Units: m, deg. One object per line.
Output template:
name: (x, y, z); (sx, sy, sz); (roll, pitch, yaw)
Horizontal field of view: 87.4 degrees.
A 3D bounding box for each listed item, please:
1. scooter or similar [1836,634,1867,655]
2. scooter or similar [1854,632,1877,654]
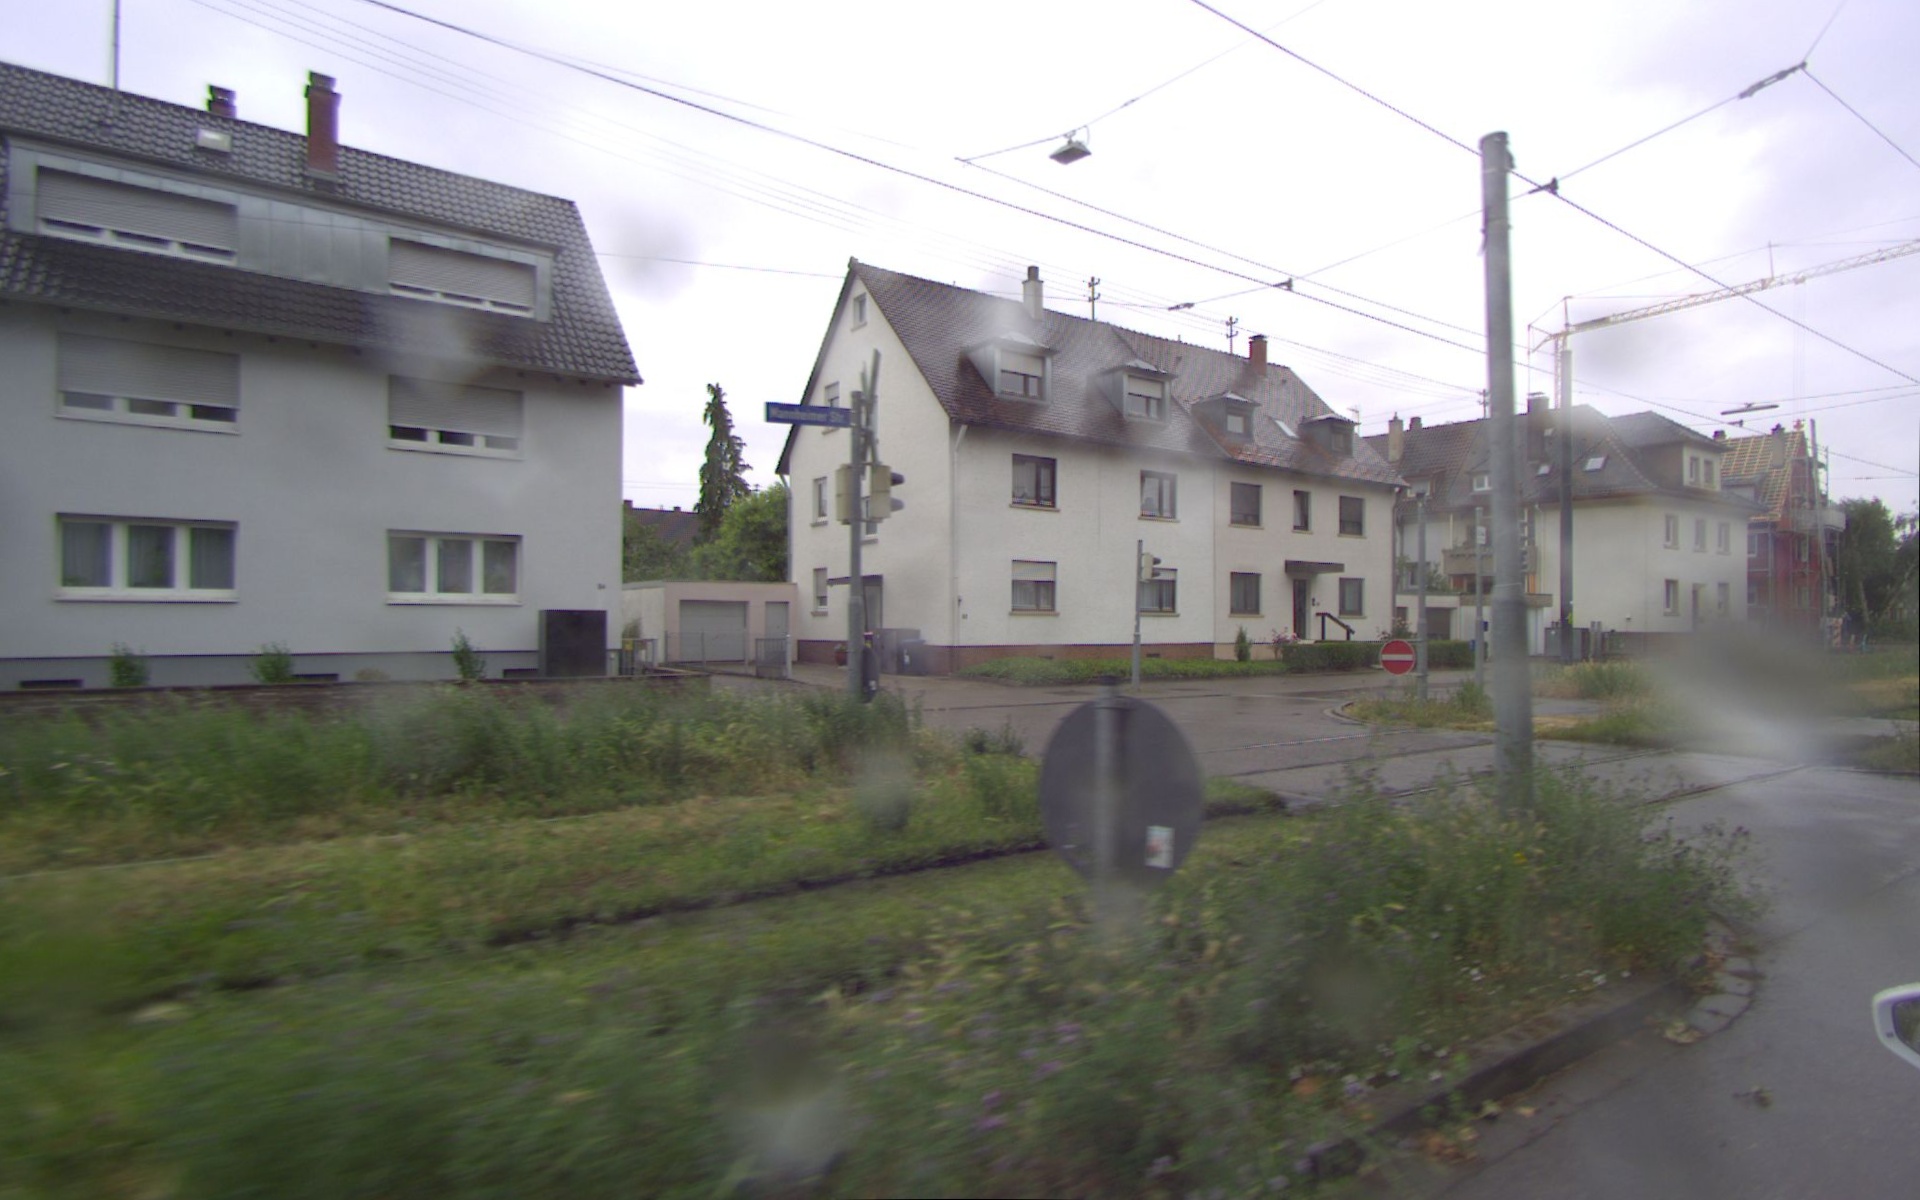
scooter or similar: (47.664, 2.383, 53.706); (1.258, 1.144, 0.441); (0, -1, -3)
scooter or similar: (50.104, 2.395, 55.589); (1.262, 1.196, 0.393); (1, -1, -18)
